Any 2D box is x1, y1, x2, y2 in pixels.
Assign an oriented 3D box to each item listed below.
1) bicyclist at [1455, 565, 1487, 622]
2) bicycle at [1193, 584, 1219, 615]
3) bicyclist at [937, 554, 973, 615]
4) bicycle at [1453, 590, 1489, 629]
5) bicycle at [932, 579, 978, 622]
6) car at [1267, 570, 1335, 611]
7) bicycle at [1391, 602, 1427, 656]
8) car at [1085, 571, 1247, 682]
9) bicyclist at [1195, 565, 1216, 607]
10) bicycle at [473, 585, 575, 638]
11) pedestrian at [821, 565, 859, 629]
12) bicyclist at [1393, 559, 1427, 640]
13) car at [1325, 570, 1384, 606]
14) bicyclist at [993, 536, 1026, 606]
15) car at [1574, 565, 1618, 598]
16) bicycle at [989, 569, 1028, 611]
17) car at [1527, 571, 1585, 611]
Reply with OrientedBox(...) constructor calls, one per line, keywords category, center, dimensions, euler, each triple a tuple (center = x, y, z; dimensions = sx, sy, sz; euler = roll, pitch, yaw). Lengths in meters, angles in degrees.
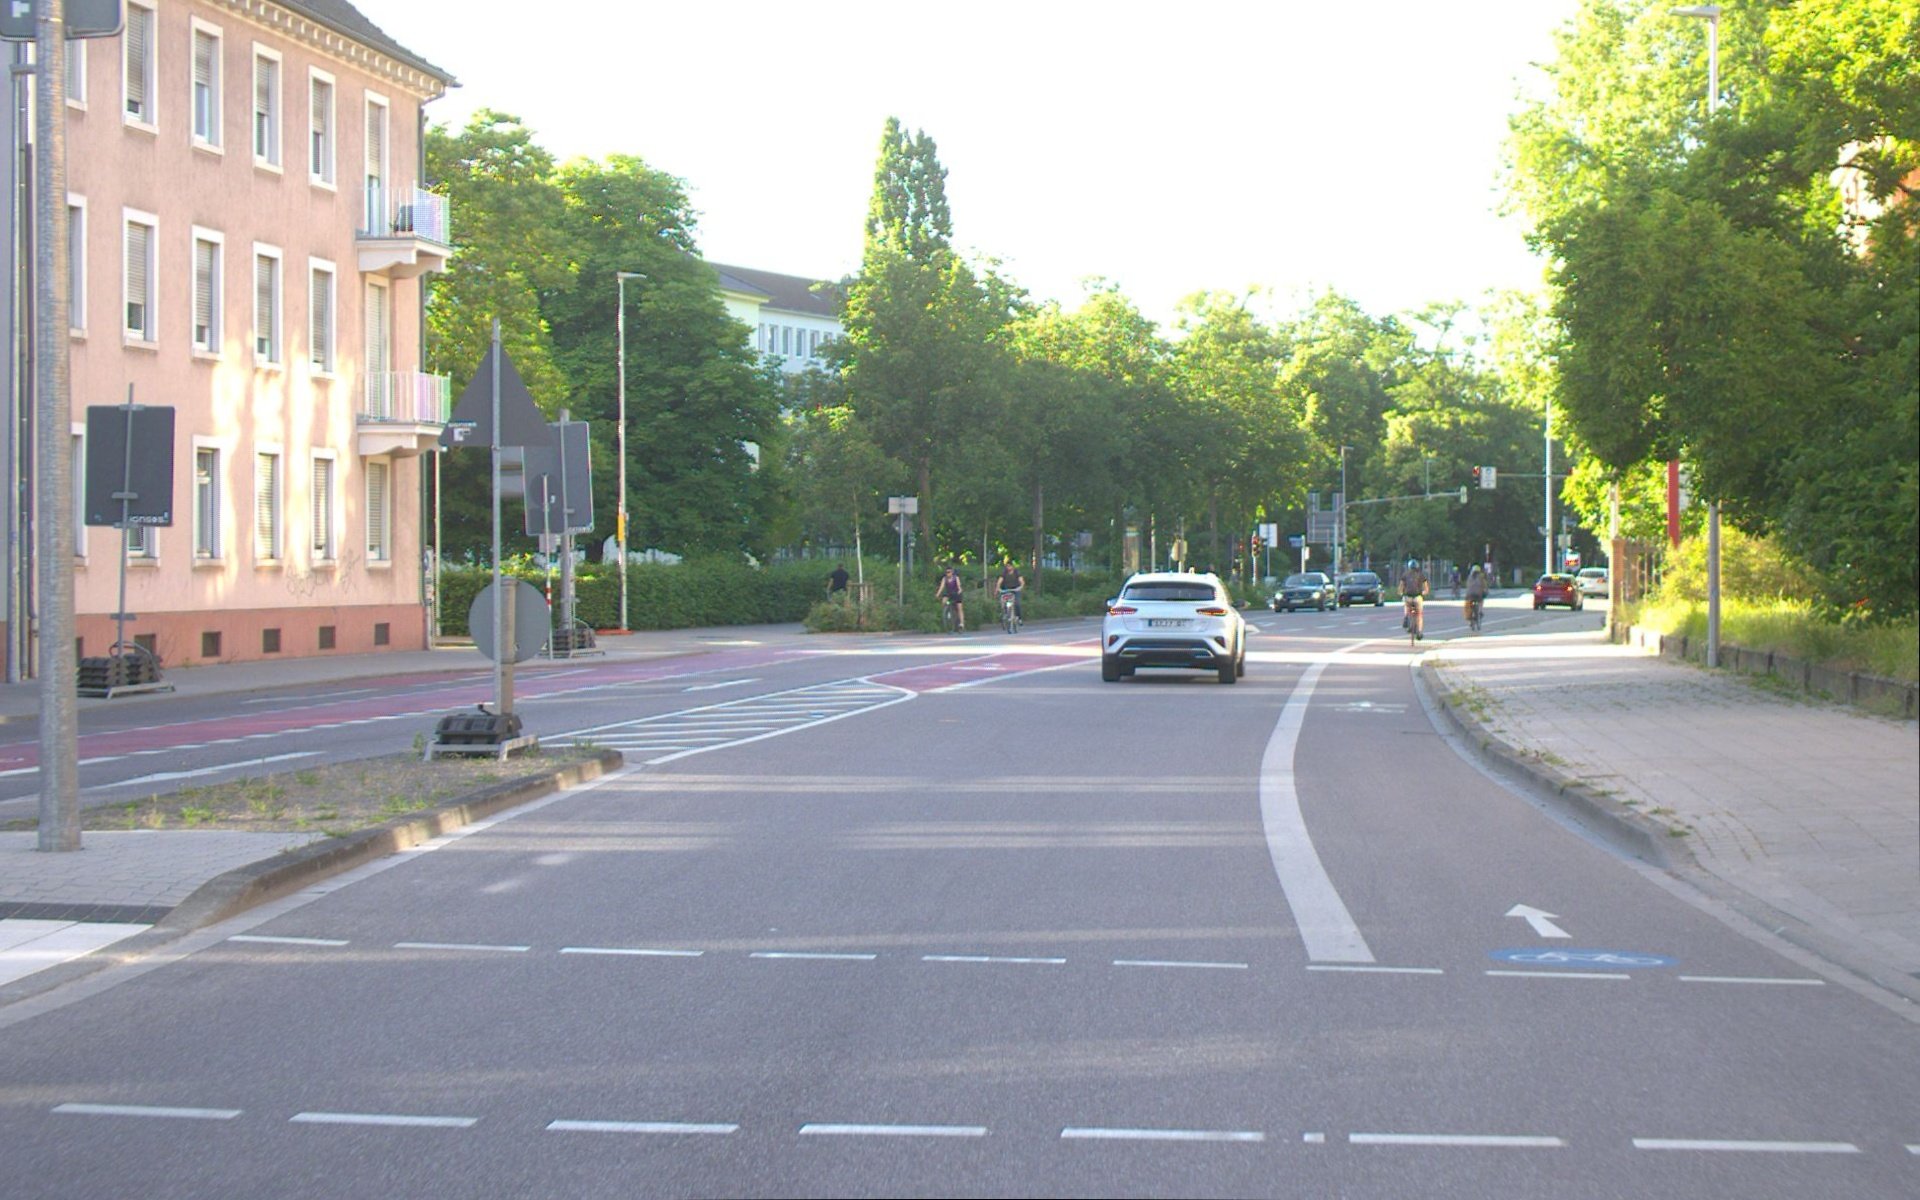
OrientedBox(category="bicyclist", center=(13.785, -0.181, 92.715), dimensions=(0.748, 1.532, 0.969), euler=(0, 1, 15))
OrientedBox(category="bicycle", center=(9.265, -0.023, 129.377), dimensions=(0.597, 1.117, 2.026), euler=(-4, 0, 12))
OrientedBox(category="bicyclist", center=(-0.122, -0.390, 86.197), dimensions=(0.738, 1.480, 0.665), euler=(-2, 0, 12))
OrientedBox(category="bicycle", center=(13.781, 0.257, 92.692), dimensions=(0.753, 1.022, 1.868), euler=(1, 0, 15))
OrientedBox(category="bicycle", center=(-0.111, 0.007, 86.176), dimensions=(0.737, 0.992, 2.108), euler=(-1, 2, 11))
OrientedBox(category="car", center=(12.424, -0.355, 125.058), dimensions=(1.813, 1.415, 4.552), euler=(-1, 1, 14))
OrientedBox(category="bicycle", center=(9.036, 0.572, 69.132), dimensions=(0.643, 1.021, 2.212), euler=(1, 1, 9))
OrientedBox(category="car", center=(2.906, 0.342, 47.799), dimensions=(1.994, 1.448, 3.999), euler=(-1, 0, 7))
OrientedBox(category="bicyclist", center=(9.242, -0.538, 129.410), dimensions=(0.629, 1.517, 0.724), euler=(-3, 0, 12))
OrientedBox(category="bicycle", center=(-10.310, 0.278, 81.266), dimensions=(2.321, 1.225, 0.560), euler=(-1, 1, 14))
OrientedBox(category="pedestrian", center=(-3.548, -0.091, 101.603), dimensions=(0.856, 1.845, 1.001), euler=(-1, 0, 13))
OrientedBox(category="bicyclist", center=(9.071, -0.012, 69.285), dimensions=(0.636, 1.609, 1.283), euler=(1, 1, 9))
OrientedBox(category="car", center=(16.414, -0.496, 143.033), dimensions=(1.759, 1.454, 3.997), euler=(0, 1, 16))
OrientedBox(category="bicyclist", center=(1.236, -0.716, 85.547), dimensions=(0.636, 1.704, 0.738), euler=(-3, 0, 9))
OrientedBox(category="car", center=(30.918, -0.920, 167.006), dimensions=(1.738, 1.541, 3.997), euler=(0, 1, 16))
OrientedBox(category="bicycle", center=(1.219, -0.254, 85.449), dimensions=(0.646, 0.992, 2.108), euler=(-2, 1, 9))
OrientedBox(category="car", center=(23.949, -0.383, 138.091), dimensions=(1.930, 1.528, 3.997), euler=(-1, 0, 15))
